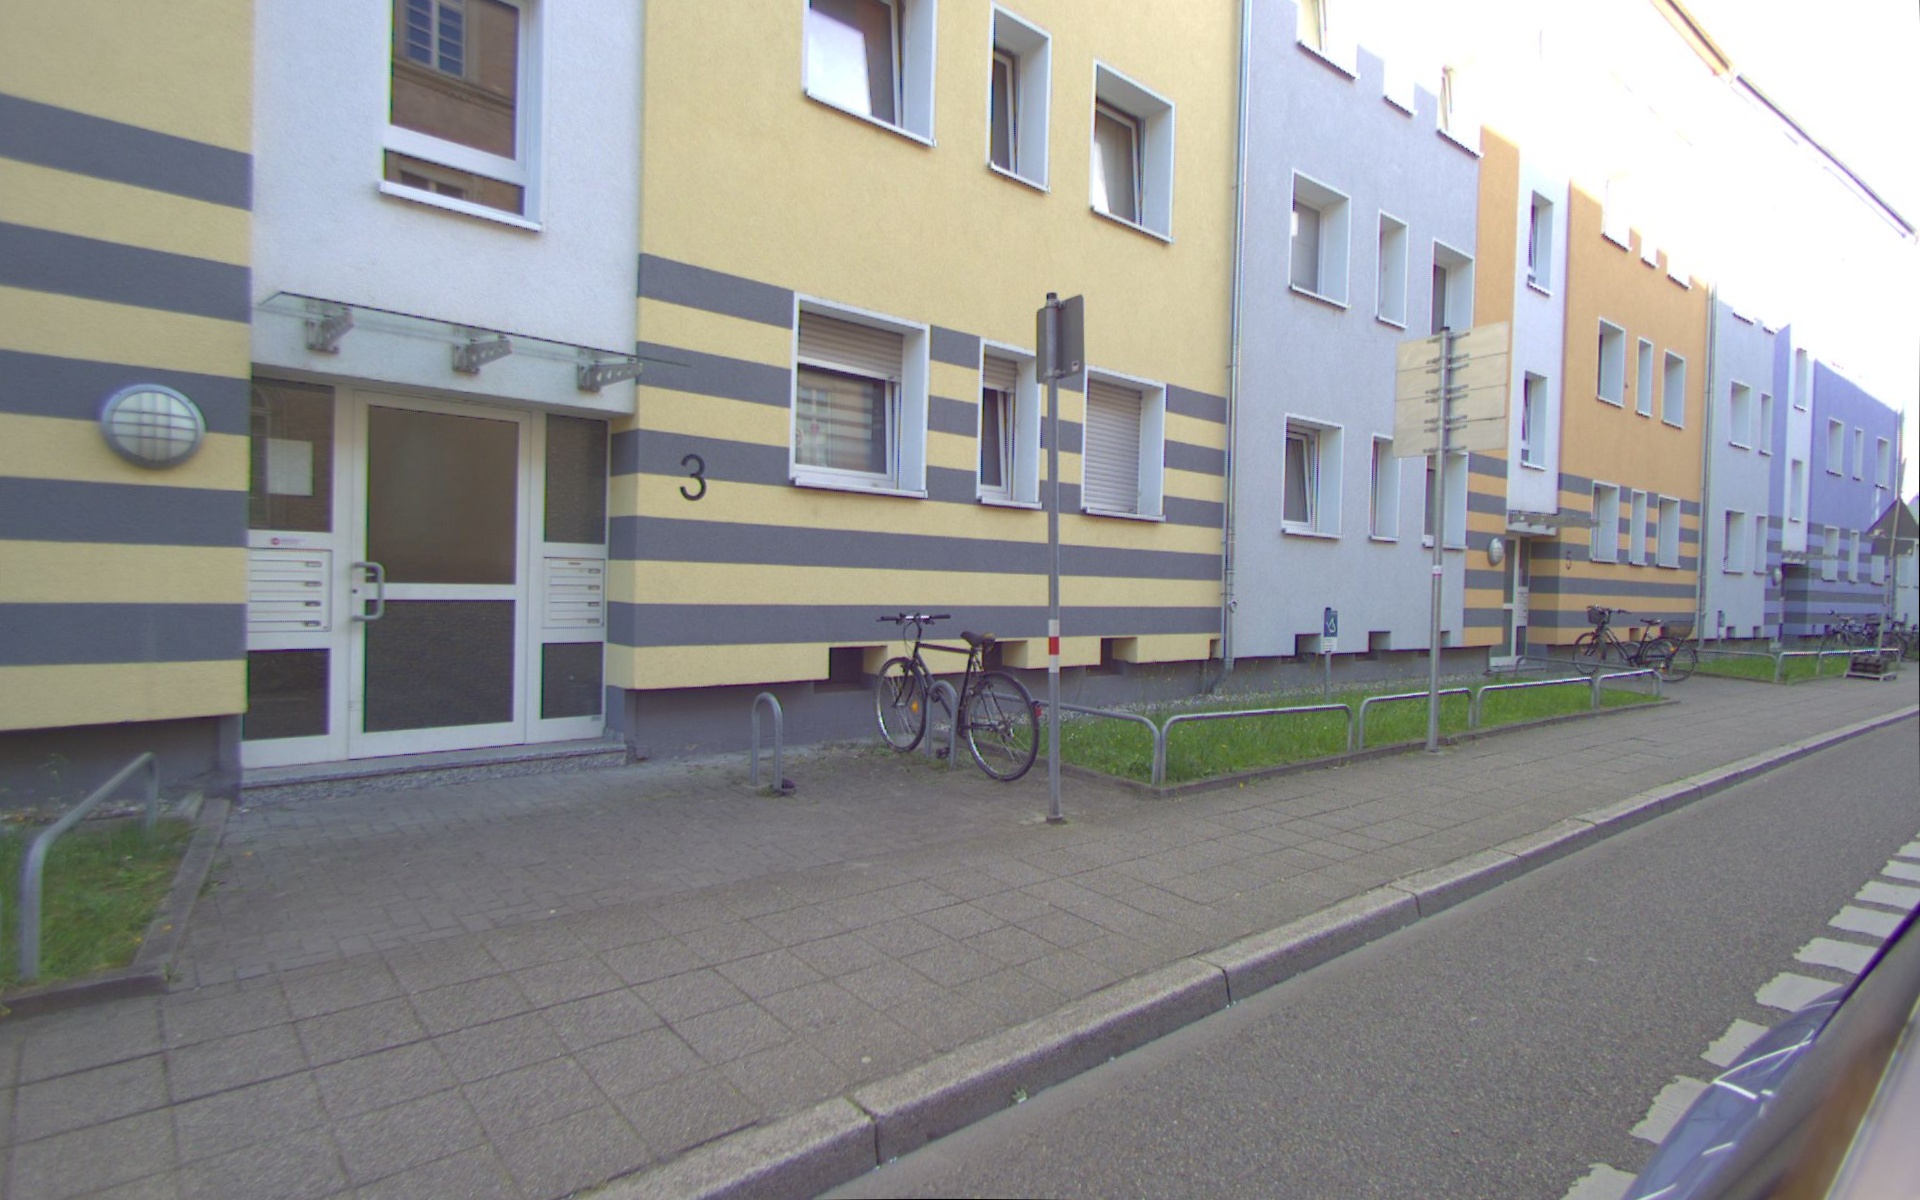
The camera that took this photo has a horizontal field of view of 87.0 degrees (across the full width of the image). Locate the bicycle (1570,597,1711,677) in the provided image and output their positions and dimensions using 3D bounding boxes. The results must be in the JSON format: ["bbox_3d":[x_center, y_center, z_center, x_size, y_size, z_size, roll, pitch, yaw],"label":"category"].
[{"bbox_3d":[10.690,0.551,15.946,1.775,1.137,0.476,3,1,44],"label":"bicycle"}]

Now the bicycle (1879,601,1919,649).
[{"bbox_3d":[24.137,0.640,25.279,0.475,1.166,1.678,1,1,-37],"label":"bicycle"}]

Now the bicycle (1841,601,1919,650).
[{"bbox_3d":[23.309,0.628,25.422,0.475,1.166,1.678,1,1,-37],"label":"bicycle"}]

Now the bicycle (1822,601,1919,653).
[{"bbox_3d":[22.228,0.646,24.730,0.475,1.166,1.678,1,1,-37],"label":"bicycle"}]

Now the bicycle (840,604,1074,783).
[{"bbox_3d":[-0.071,0.580,7.017,1.775,1.031,0.476,3,1,44],"label":"bicycle"}]
